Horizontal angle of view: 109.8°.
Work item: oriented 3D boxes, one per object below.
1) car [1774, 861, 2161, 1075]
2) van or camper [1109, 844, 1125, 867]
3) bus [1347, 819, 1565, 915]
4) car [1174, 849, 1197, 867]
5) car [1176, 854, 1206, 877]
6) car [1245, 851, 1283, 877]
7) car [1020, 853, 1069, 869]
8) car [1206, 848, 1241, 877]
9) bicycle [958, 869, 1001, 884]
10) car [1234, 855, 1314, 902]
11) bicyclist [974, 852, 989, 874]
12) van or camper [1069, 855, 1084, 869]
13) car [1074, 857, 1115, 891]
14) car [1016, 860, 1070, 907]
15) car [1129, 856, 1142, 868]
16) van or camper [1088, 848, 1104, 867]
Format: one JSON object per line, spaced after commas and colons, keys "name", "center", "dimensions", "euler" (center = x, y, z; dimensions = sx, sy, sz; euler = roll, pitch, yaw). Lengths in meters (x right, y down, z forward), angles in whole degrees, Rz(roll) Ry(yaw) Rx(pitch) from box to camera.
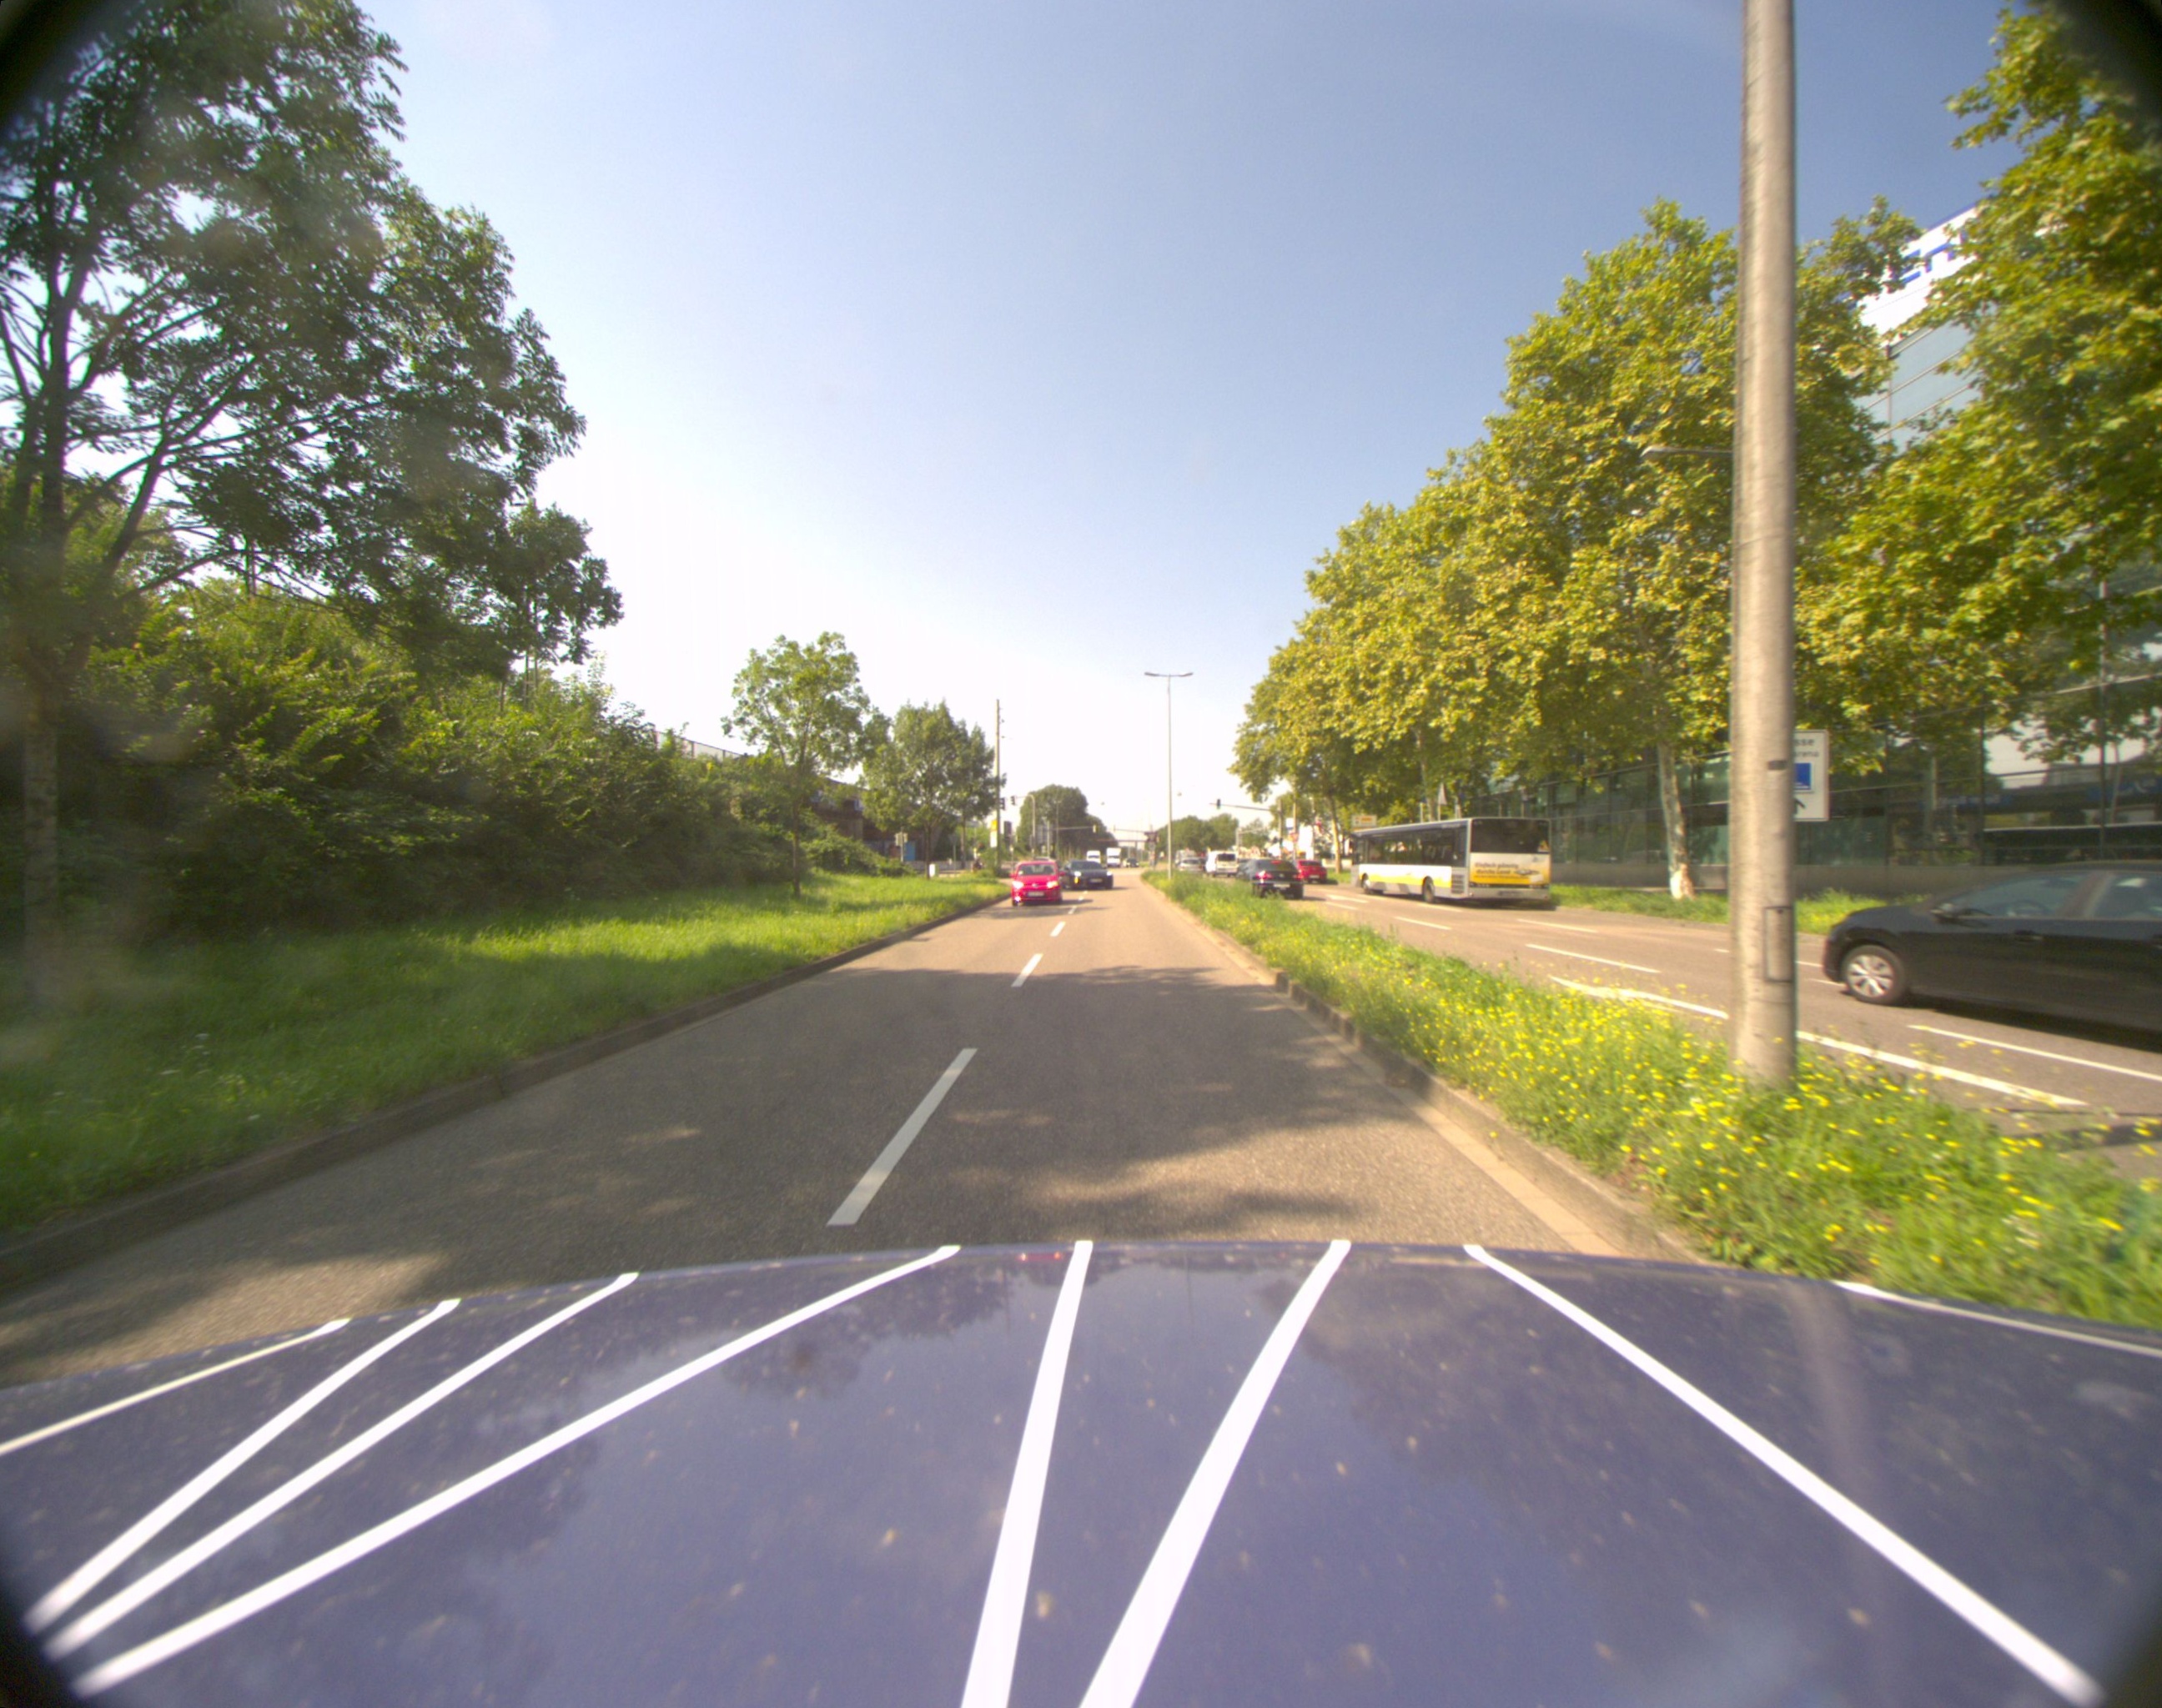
{"name": "car", "center": [8.582, 0.857, 6.362], "dimensions": [1.709, 1.481, 4.313], "euler": [2, 0, 3]}
{"name": "van or camper", "center": [5.590, 0.289, 117.146], "dimensions": [2.247, 3.341, 6.856], "euler": [-2, -2, 5]}
{"name": "bus", "center": [12.597, 0.335, 27.147], "dimensions": [2.668, 2.678, 10.907], "euler": [1, 0, 2]}
{"name": "car", "center": [11.516, 0.461, 84.051], "dimensions": [1.932, 1.946, 5.214], "euler": [0, -1, 1]}
{"name": "car", "center": [7.863, 0.818, 54.492], "dimensions": [1.618, 1.526, 4.102], "euler": [2, -1, 1]}
{"name": "car", "center": [13.888, 0.733, 57.973], "dimensions": [1.932, 1.884, 3.976], "euler": [1, 0, 1]}
{"name": "car", "center": [-3.683, 0.686, 76.954], "dimensions": [4.594, 1.434, 1.844], "euler": [2, 0, 22]}
{"name": "car", "center": [10.796, 0.603, 58.020], "dimensions": [1.931, 1.949, 5.189], "euler": [1, 2, 3]}
{"name": "bicycle", "center": [-7.647, 1.683, 57.427], "dimensions": [2.982, 1.043, 1.232], "euler": [0, -1, -27]}
{"name": "car", "center": [6.769, 0.807, 27.129], "dimensions": [1.850, 1.481, 4.644], "euler": [2, 0, 3]}
{"name": "bicyclist", "center": [-7.545, 0.654, 57.531], "dimensions": [0.971, 1.648, 0.711], "euler": [0, 0, -27]}
{"name": "van or camper", "center": [-0.609, 1.204, 110.108], "dimensions": [1.850, 1.765, 4.177], "euler": [-2, -2, 3]}
{"name": "car", "center": [0.587, 0.905, 36.080], "dimensions": [1.643, 1.458, 3.553], "euler": [-3, 0, -3]}
{"name": "car", "center": [-1.378, 0.953, 26.226], "dimensions": [1.643, 1.458, 3.552], "euler": [-2, 0, -6]}
{"name": "car", "center": [8.526, 1.278, 117.744], "dimensions": [1.904, 1.603, 5.200], "euler": [-2, -3, 5]}
{"name": "van or camper", "center": [2.280, 0.555, 113.129], "dimensions": [2.247, 2.467, 6.870], "euler": [-2, -2, 3]}
